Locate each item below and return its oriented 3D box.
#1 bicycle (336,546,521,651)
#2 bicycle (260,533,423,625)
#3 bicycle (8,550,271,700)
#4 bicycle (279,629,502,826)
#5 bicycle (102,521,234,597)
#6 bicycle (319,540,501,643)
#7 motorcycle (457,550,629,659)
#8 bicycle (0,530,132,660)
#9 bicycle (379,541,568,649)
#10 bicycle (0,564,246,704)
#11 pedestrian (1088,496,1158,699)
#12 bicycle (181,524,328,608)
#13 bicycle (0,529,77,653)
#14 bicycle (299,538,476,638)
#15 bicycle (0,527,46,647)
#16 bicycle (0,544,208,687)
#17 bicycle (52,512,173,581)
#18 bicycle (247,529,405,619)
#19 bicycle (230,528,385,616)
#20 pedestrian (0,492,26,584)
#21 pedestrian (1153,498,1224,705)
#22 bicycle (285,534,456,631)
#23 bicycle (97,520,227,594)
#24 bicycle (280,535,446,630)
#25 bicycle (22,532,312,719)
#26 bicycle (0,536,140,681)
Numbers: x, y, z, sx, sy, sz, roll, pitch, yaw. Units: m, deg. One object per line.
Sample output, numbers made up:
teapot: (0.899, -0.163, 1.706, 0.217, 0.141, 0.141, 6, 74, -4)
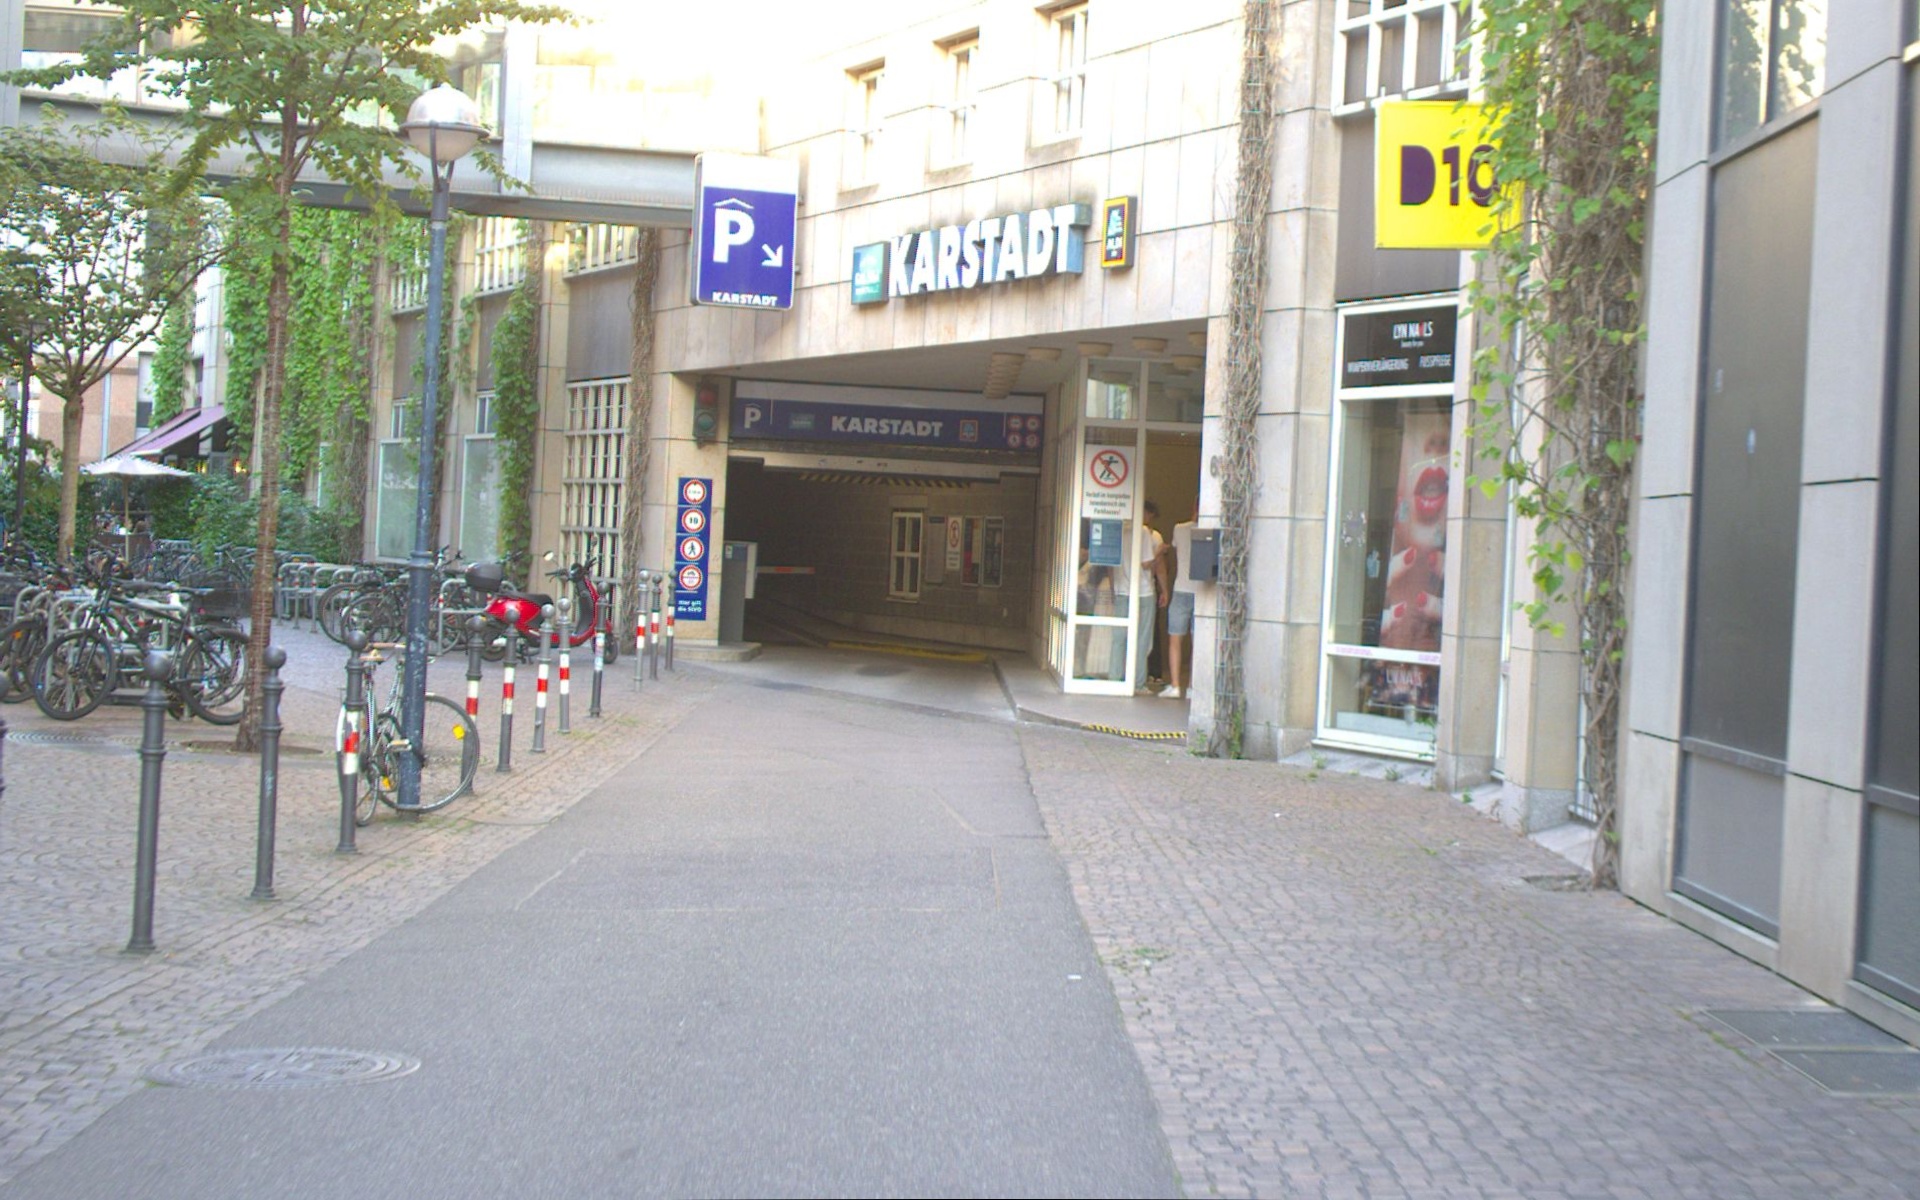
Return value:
bicycle: (-6.120, -0.018, 39.556, 1.993, 1.178, 0.696, 0, 2, -19)
bicycle: (-8.078, -0.275, 44.908, 1.993, 1.178, 0.694, 0, 2, -19)
bicycle: (-6.489, 0.194, 27.175, 1.912, 1.098, 0.696, 2, 1, -20)
bicycle: (-3.041, 0.661, 18.505, 0.505, 0.963, 1.693, 2, 1, 15)
bicycle: (-12.723, -0.657, 55.234, 1.993, 1.178, 0.694, 0, 2, -19)
bicycle: (-6.471, -0.101, 40.453, 1.993, 1.178, 0.803, 0, 2, -19)
motorcycle: (-4.497, 0.048, 37.041, 1.745, 1.151, 0.595, 1, 1, -17)
bicycle: (-8.962, -0.065, 32.951, 1.912, 1.178, 0.696, 2, 1, -17)
bicycle: (-5.476, -0.058, 38.714, 1.993, 1.178, 0.696, 0, 2, -19)
bicycle: (-6.487, 0.258, 26.257, 1.912, 0.991, 0.696, 2, 1, -20)
pedestrian: (1.505, -0.028, 31.736, 0.542, 1.840, 0.408, 3, 2, 6)
bicycle: (-10.167, -0.485, 49.527, 1.993, 1.178, 0.694, 0, 2, -19)
bicycle: (-9.681, -0.113, 33.688, 1.912, 1.178, 0.696, 2, 1, -17)
bicycle: (-6.931, -0.149, 41.586, 1.993, 1.178, 0.803, 0, 2, -19)
bicycle: (-10.255, -0.163, 34.729, 1.912, 1.178, 0.696, 2, 1, -17)
bicycle: (-7.230, 0.123, 28.360, 1.912, 1.098, 0.696, 2, 1, -17)
bicycle: (-14.921, -0.940, 60.528, 1.993, 1.178, 0.694, 0, 2, -19)
bicycle: (-8.508, -0.351, 46.143, 1.993, 1.178, 0.694, 0, 2, -19)
bicycle: (-8.961, -0.386, 47.216, 1.993, 1.178, 0.694, 0, 2, -19)
pedestrian: (-15.933, -1.044, 56.971, 0.747, 1.504, 0.638, 2, 1, -22)
pedestrian: (2.095, 0.007, 31.501, 0.542, 1.855, 0.408, 3, 2, 6)
bicycle: (-7.379, -0.219, 43.039, 1.993, 1.178, 0.803, 0, 2, -19)
bicycle: (-13.004, -0.697, 56.044, 1.993, 1.178, 0.694, 0, 2, -19)
bicycle: (-7.645, -0.226, 44.026, 1.993, 1.178, 0.694, 0, 2, -19)
bicycle: (-5.731, 0.182, 24.843, 1.912, 1.256, 0.809, 2, 1, -20)
bicycle: (-8.004, 0.058, 29.259, 1.912, 1.178, 0.696, 2, 1, -17)
